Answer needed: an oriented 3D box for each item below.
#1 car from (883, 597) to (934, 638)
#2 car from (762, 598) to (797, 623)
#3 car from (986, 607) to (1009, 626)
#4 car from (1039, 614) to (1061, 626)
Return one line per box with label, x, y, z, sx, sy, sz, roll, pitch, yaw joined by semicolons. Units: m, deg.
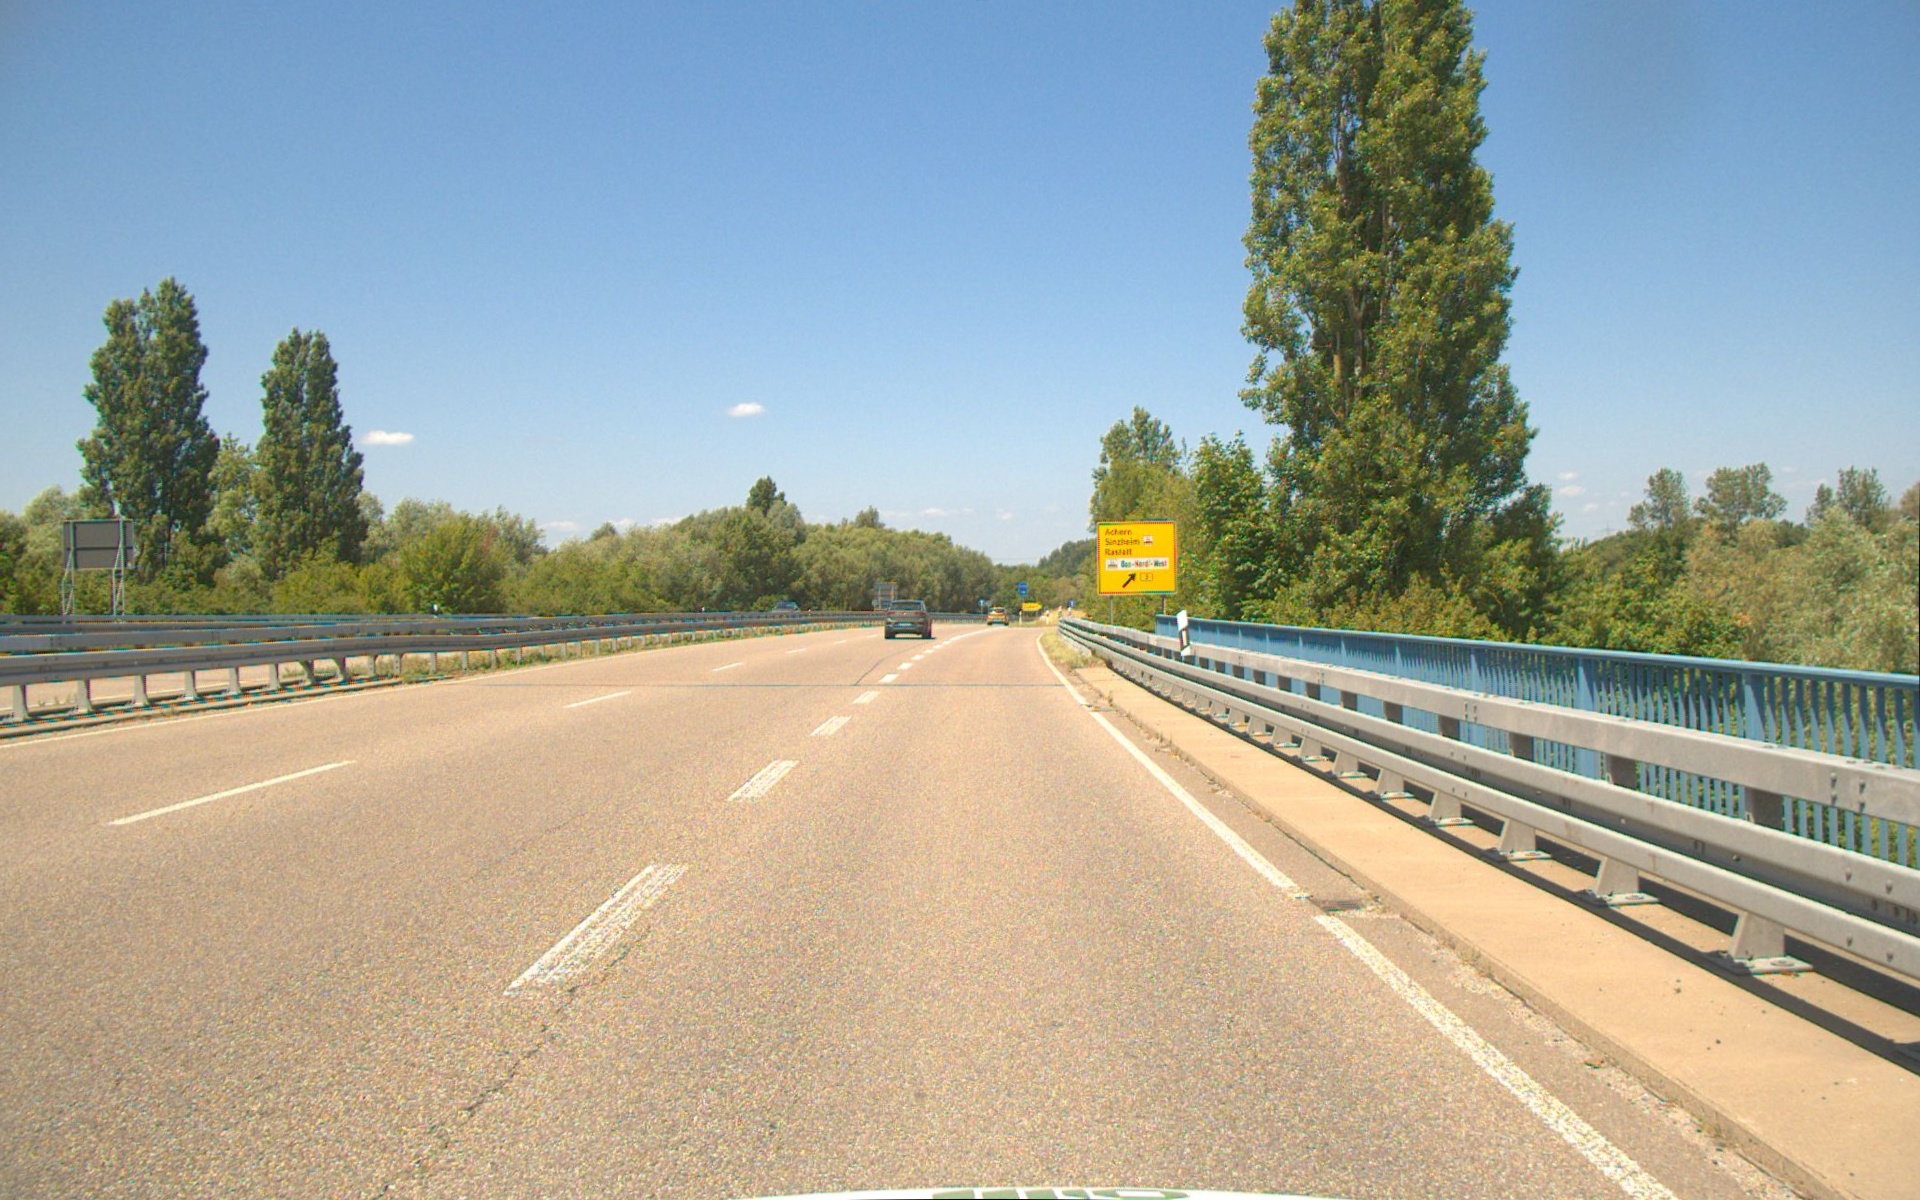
car;-2.106;0.704;68.391;1.803;1.556;4.471;1;1;2
car;-12.559;0.728;115.295;1.787;1.676;4.190;0;-1;2
car;3.213;1.411;140.999;1.803;1.489;4.002;1;1;3
car;12.032;2.630;220.779;1.803;1.476;4.001;1;1;19
